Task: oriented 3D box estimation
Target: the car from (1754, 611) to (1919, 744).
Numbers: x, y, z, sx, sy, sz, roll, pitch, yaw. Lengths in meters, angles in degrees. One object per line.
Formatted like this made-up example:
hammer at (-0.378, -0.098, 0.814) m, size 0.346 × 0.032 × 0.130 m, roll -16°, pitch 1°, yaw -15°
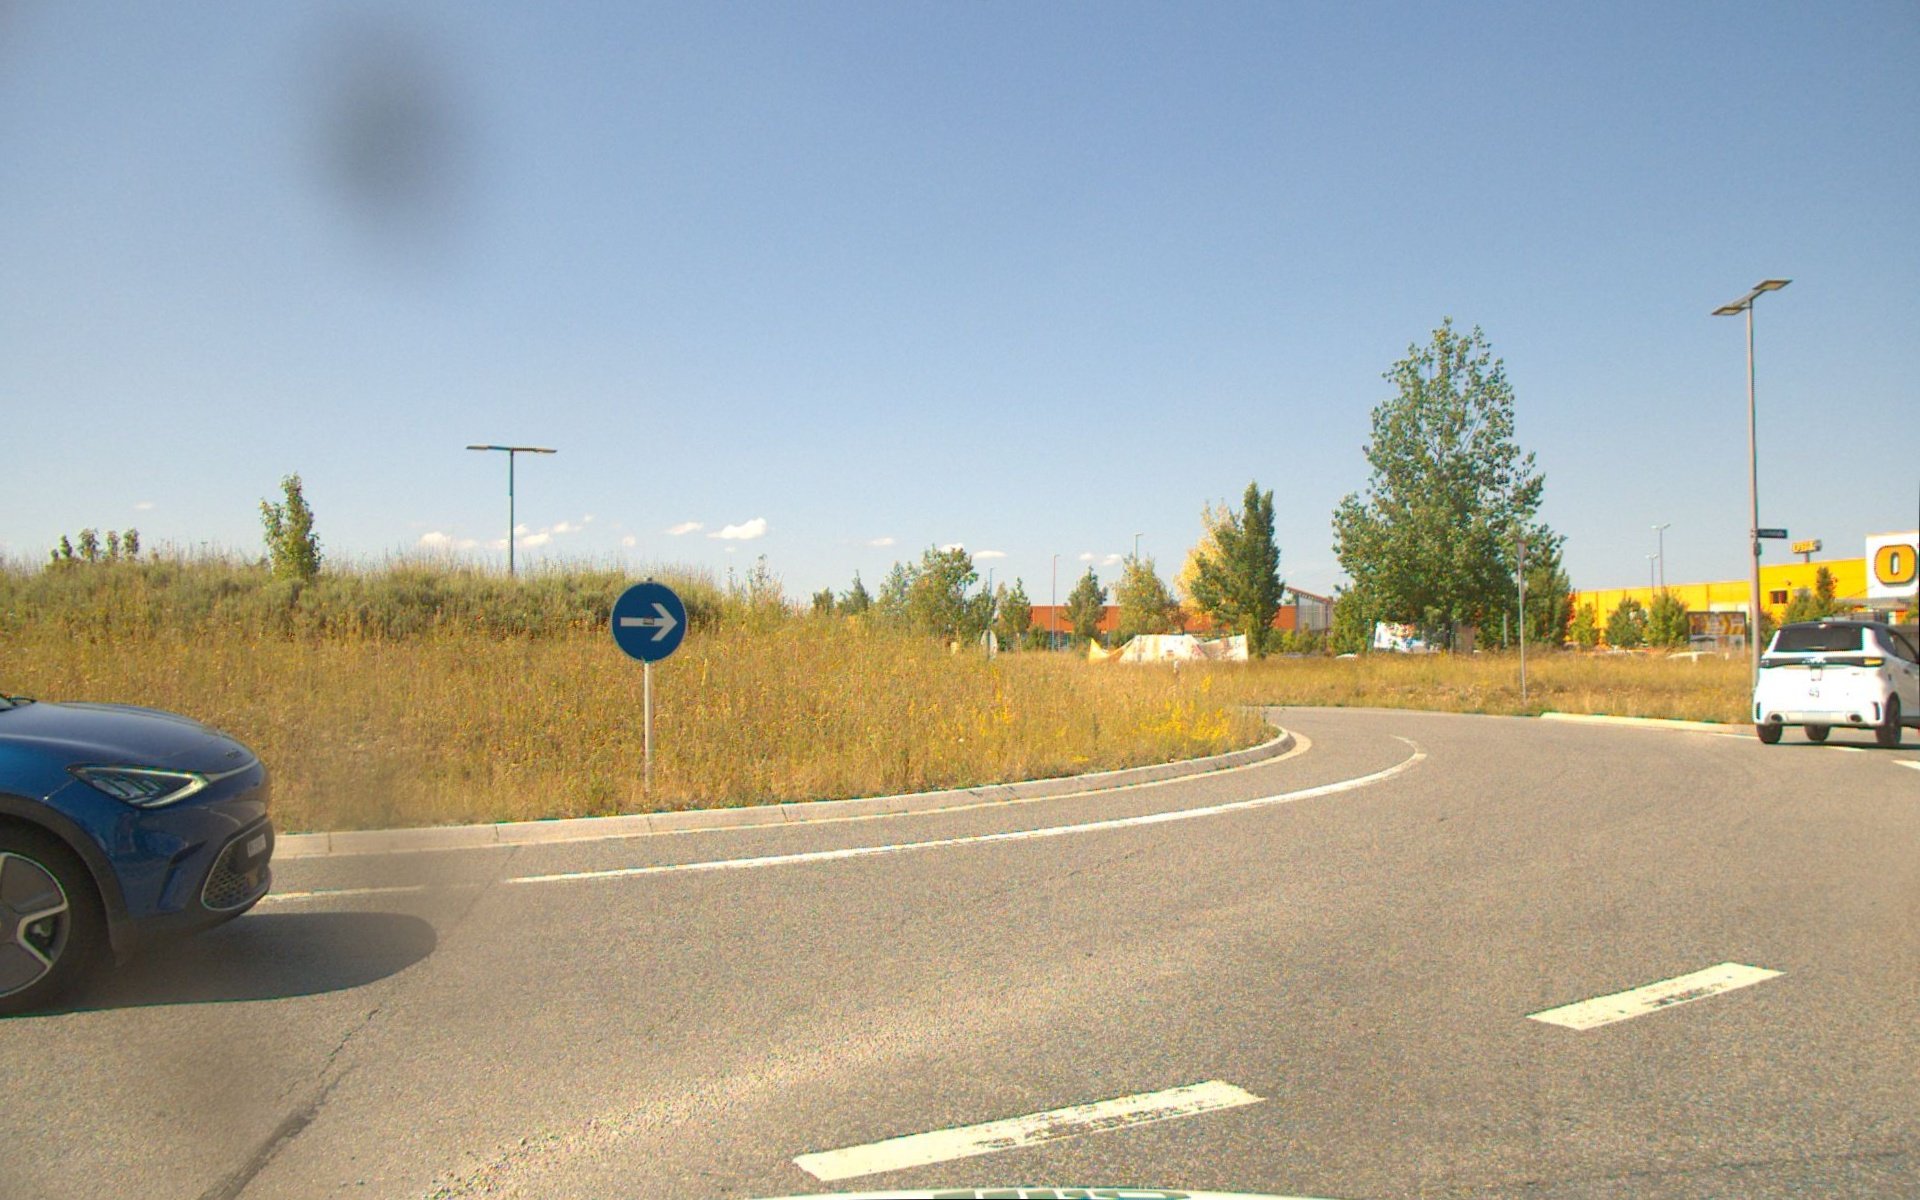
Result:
car at (11.141, 0.892, 20.454) m, size 1.488 × 1.465 × 3.329 m, roll 0°, pitch 0°, yaw 43°

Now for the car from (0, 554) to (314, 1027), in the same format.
car at (-4.819, 0.681, 6.468) m, size 3.995 × 1.664 × 1.851 m, roll 0°, pitch 0°, yaw -12°
